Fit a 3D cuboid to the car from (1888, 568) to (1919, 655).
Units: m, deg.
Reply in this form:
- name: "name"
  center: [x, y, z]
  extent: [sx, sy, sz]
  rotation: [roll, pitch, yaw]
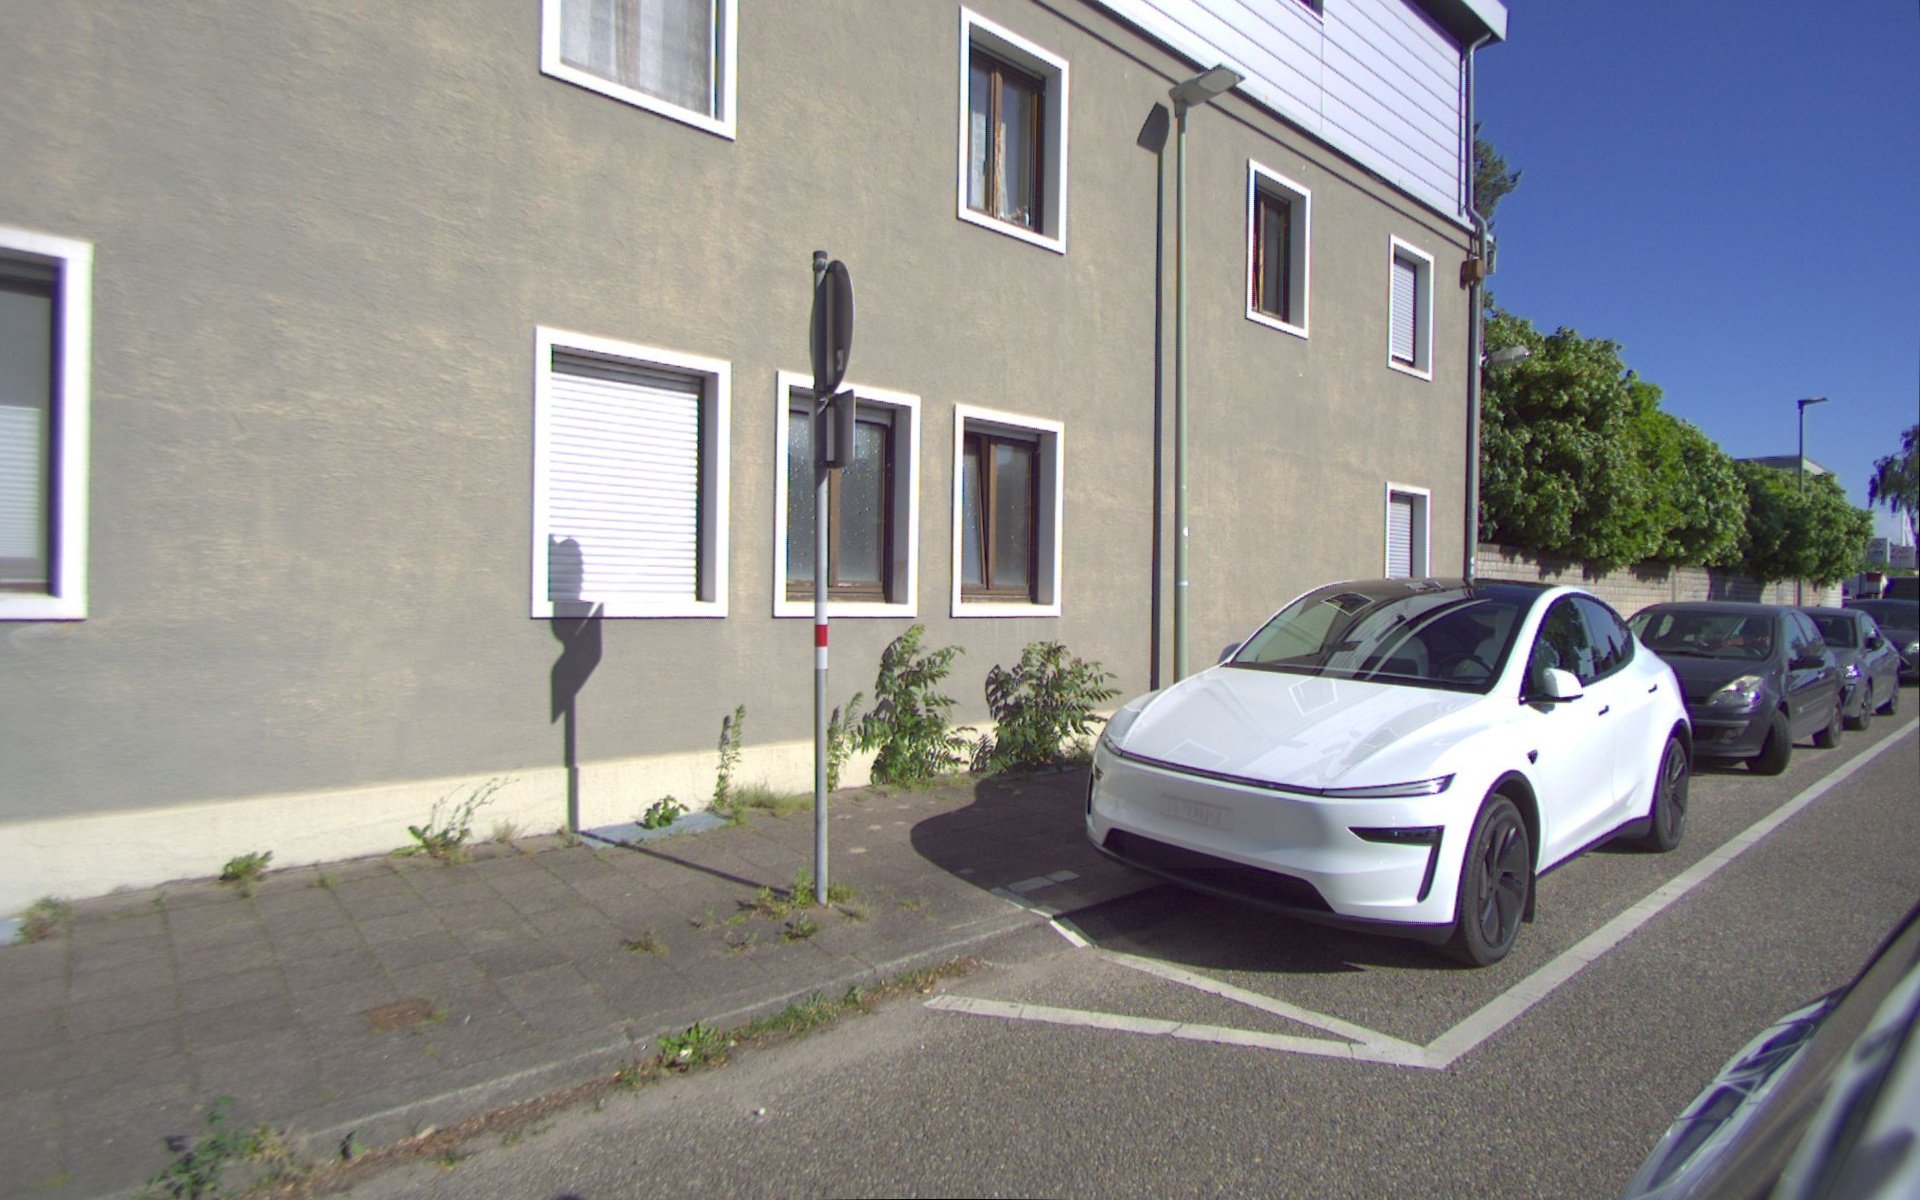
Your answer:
- name: "car"
  center: [27.260, 0.323, 27.899]
  extent: [5.055, 2.288, 1.895]
  rotation: [0, 1, -41]

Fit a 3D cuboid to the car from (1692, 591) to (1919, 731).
- name: "car"
  center: [11.123, 0.682, 13.222]
  extent: [3.961, 1.524, 1.662]
  rotation: [0, 1, -41]

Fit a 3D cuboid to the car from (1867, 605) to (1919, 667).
- name: "car"
  center: [22.432, 0.799, 23.413]
  extent: [4.032, 1.335, 1.657]
  rotation: [0, 1, -41]

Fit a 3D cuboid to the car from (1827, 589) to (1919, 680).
- name: "car"
  center: [18.582, 0.635, 19.943]
  extent: [4.131, 1.634, 1.684]
  rotation: [0, -1, -41]

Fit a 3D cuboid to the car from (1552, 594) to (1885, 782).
- name: "car"
  center: [7.652, 0.716, 10.077]
  extent: [4.112, 1.491, 1.603]
  rotation: [0, 1, -38]

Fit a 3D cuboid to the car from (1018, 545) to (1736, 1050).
- name: "car"
  center: [2.645, 0.631, 5.659]
  extent: [4.689, 1.665, 1.934]
  rotation: [0, 1, -43]
